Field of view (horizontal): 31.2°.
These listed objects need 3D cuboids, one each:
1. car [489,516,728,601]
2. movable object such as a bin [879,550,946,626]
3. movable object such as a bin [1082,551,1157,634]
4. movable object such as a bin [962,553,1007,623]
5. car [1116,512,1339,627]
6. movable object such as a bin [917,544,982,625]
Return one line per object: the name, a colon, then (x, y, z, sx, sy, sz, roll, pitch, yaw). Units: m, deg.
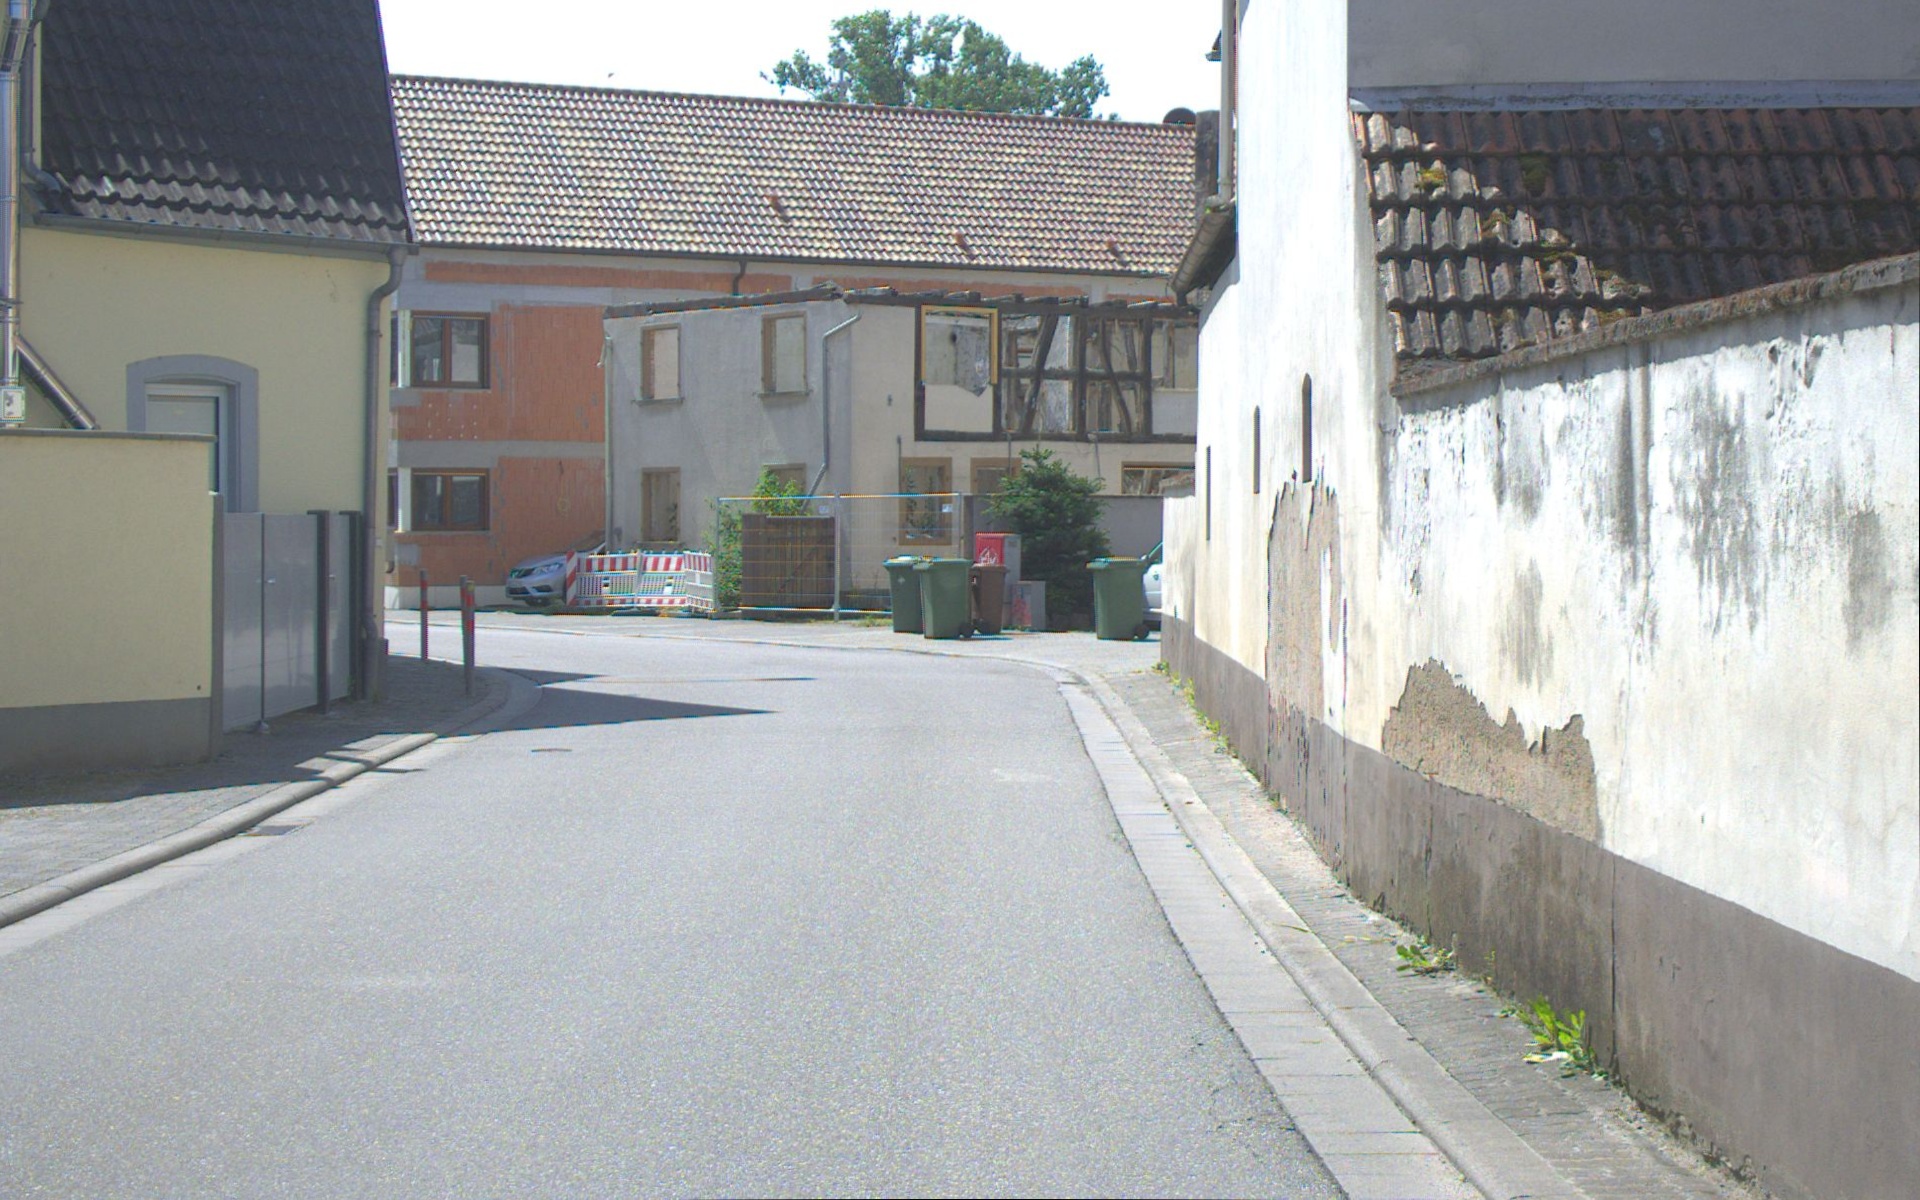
car: (-6.633, -0.804, 65.001, 4.089, 1.502, 1.870, -2, 2, -35)
movable object such as a bin: (-0.674, -0.173, 49.006, 0.671, 1.068, 0.760, 1, 1, 27)
movable object such as a bin: (2.114, -0.106, 45.651, 0.720, 1.077, 0.755, 0, 1, -25)
movable object such as a bin: (0.339, -0.173, 48.094, 0.465, 0.967, 0.496, 0, 1, -23)
car: (3.703, -0.473, 48.402, 1.810, 1.523, 4.298, -1, 2, -15)
movable object such as a bin: (-0.147, -0.214, 46.721, 0.686, 1.088, 0.638, 0, 1, -22)
